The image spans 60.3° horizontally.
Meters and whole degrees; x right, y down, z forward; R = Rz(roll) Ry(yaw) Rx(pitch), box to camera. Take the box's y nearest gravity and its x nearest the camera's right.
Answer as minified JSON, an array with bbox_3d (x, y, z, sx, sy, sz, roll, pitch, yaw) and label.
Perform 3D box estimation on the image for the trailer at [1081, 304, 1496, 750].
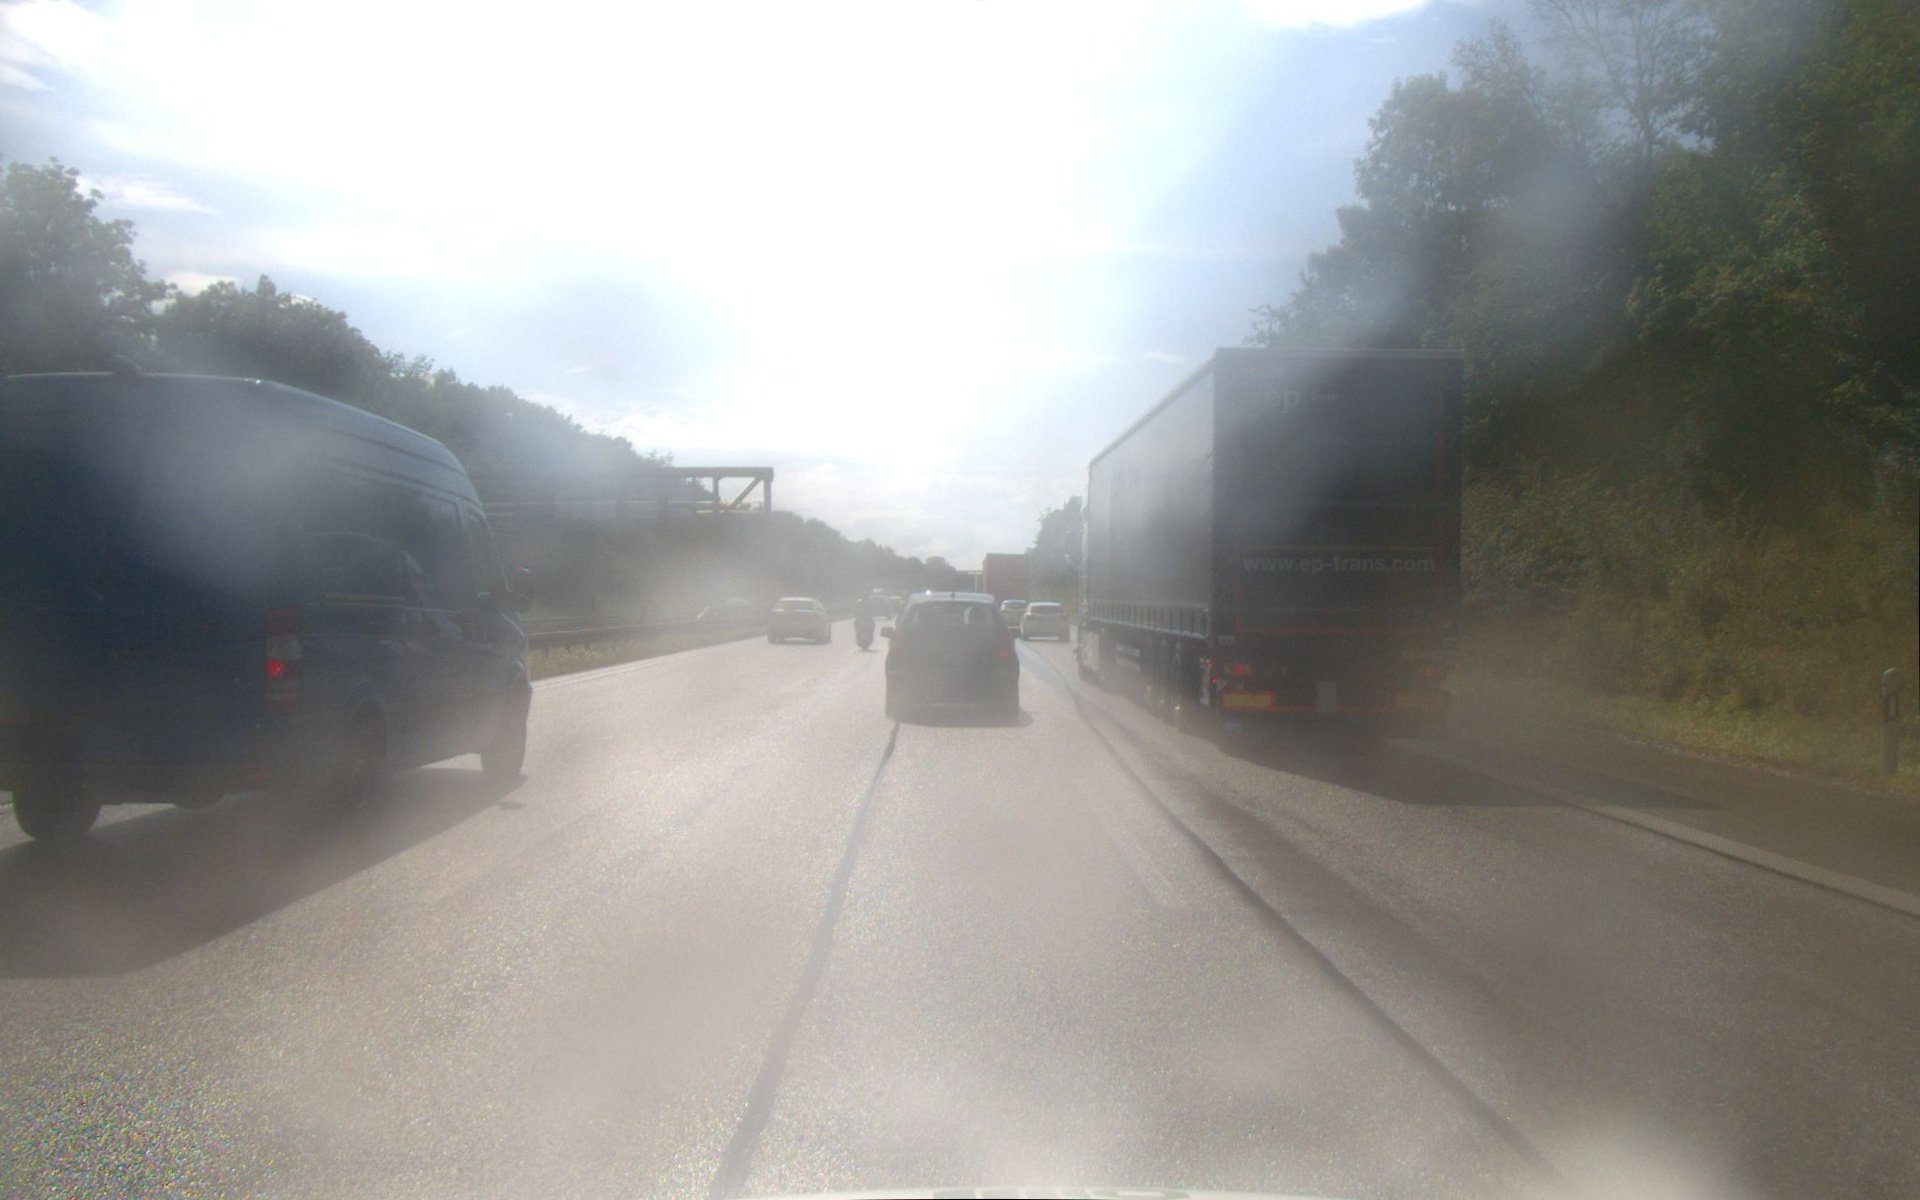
[{"bbox_3d":[3.777,-0.724,23.436,3.025,4.388,14.104,1,0,0],"label":"trailer"}]

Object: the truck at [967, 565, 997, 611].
[{"bbox_3d":[2.391,-1.234,181.809,2.823,4.769,12.655,1,0,-1],"label":"truck"}]

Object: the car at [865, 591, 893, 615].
[{"bbox_3d":[-5.678,0.228,116.419,1.854,1.656,4.194,1,0,-1],"label":"car"}]

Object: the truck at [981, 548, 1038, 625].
[{"bbox_3d":[2.964,-0.815,101.842,3.137,4.481,9.431,1,0,-1],"label":"truck"}]

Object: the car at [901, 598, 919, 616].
[{"bbox_3d":[-5.898,0.809,195.350,1.953,2.049,3.999,1,0,-1],"label":"car"}]

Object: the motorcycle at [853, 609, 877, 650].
[{"bbox_3d":[-2.739,0.836,47.643,0.662,1.106,1.980,1,0,-4],"label":"motorcycle"}]

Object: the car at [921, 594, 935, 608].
[{"bbox_3d":[-4.549,0.145,235.663,1.953,2.049,3.999,1,0,-1],"label":"car"}]

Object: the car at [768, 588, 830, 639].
[{"bbox_3d":[-5.314,0.431,55.146,1.723,1.622,4.329,1,0,-1],"label":"car"}]

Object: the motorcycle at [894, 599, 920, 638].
[{"bbox_3d":[-1.823,0.621,56.493,0.803,1.285,2.116,1,0,-4],"label":"motorcycle"}]

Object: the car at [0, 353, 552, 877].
[{"bbox_3d":[-4.478,0.076,11.443,1.975,2.695,5.775,1,0,-1],"label":"car"}]

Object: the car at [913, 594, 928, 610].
[{"bbox_3d":[-5.034,0.248,211.276,1.953,2.049,3.999,1,0,-1],"label":"car"}]

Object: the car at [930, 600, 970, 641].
[{"bbox_3d":[-0.533,1.032,85.330,1.953,2.049,3.998,1,0,-2],"label":"car"}]

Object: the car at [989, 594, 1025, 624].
[{"bbox_3d":[2.379,0.444,83.763,1.641,1.516,3.435,1,0,-1],"label":"car"}]

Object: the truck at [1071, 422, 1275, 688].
[{"bbox_3d":[3.770,-0.741,30.628,2.989,4.401,5.886,1,0,0],"label":"truck"}]

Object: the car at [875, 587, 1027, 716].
[{"bbox_3d":[-0.158,0.641,22.719,1.876,1.592,4.312,1,0,-1],"label":"car"}]

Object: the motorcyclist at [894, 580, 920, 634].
[{"bbox_3d":[-1.817,0.245,56.426,0.805,1.791,1.389,1,0,-4],"label":"motorcyclist"}]

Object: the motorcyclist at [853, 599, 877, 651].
[{"bbox_3d":[-2.740,0.719,47.709,0.657,1.467,1.019,1,-1,-4],"label":"motorcyclist"}]

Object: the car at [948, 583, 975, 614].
[{"bbox_3d":[0.066,-0.096,108.124,1.641,1.970,3.772,1,0,-1],"label":"car"}]

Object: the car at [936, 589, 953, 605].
[{"bbox_3d":[-1.547,-0.284,166.445,1.599,1.516,3.435,1,0,-1],"label":"car"}]

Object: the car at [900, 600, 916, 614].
[{"bbox_3d":[-5.381,0.725,172.612,1.641,1.516,3.435,1,0,-1],"label":"car"}]

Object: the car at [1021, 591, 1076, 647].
[{"bbox_3d":[3.314,0.711,62.825,1.811,2.049,4.086,1,0,-1],"label":"car"}]

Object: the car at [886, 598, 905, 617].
[{"bbox_3d":[-5.694,0.636,146.821,1.641,1.625,3.435,1,0,-1],"label":"car"}]
